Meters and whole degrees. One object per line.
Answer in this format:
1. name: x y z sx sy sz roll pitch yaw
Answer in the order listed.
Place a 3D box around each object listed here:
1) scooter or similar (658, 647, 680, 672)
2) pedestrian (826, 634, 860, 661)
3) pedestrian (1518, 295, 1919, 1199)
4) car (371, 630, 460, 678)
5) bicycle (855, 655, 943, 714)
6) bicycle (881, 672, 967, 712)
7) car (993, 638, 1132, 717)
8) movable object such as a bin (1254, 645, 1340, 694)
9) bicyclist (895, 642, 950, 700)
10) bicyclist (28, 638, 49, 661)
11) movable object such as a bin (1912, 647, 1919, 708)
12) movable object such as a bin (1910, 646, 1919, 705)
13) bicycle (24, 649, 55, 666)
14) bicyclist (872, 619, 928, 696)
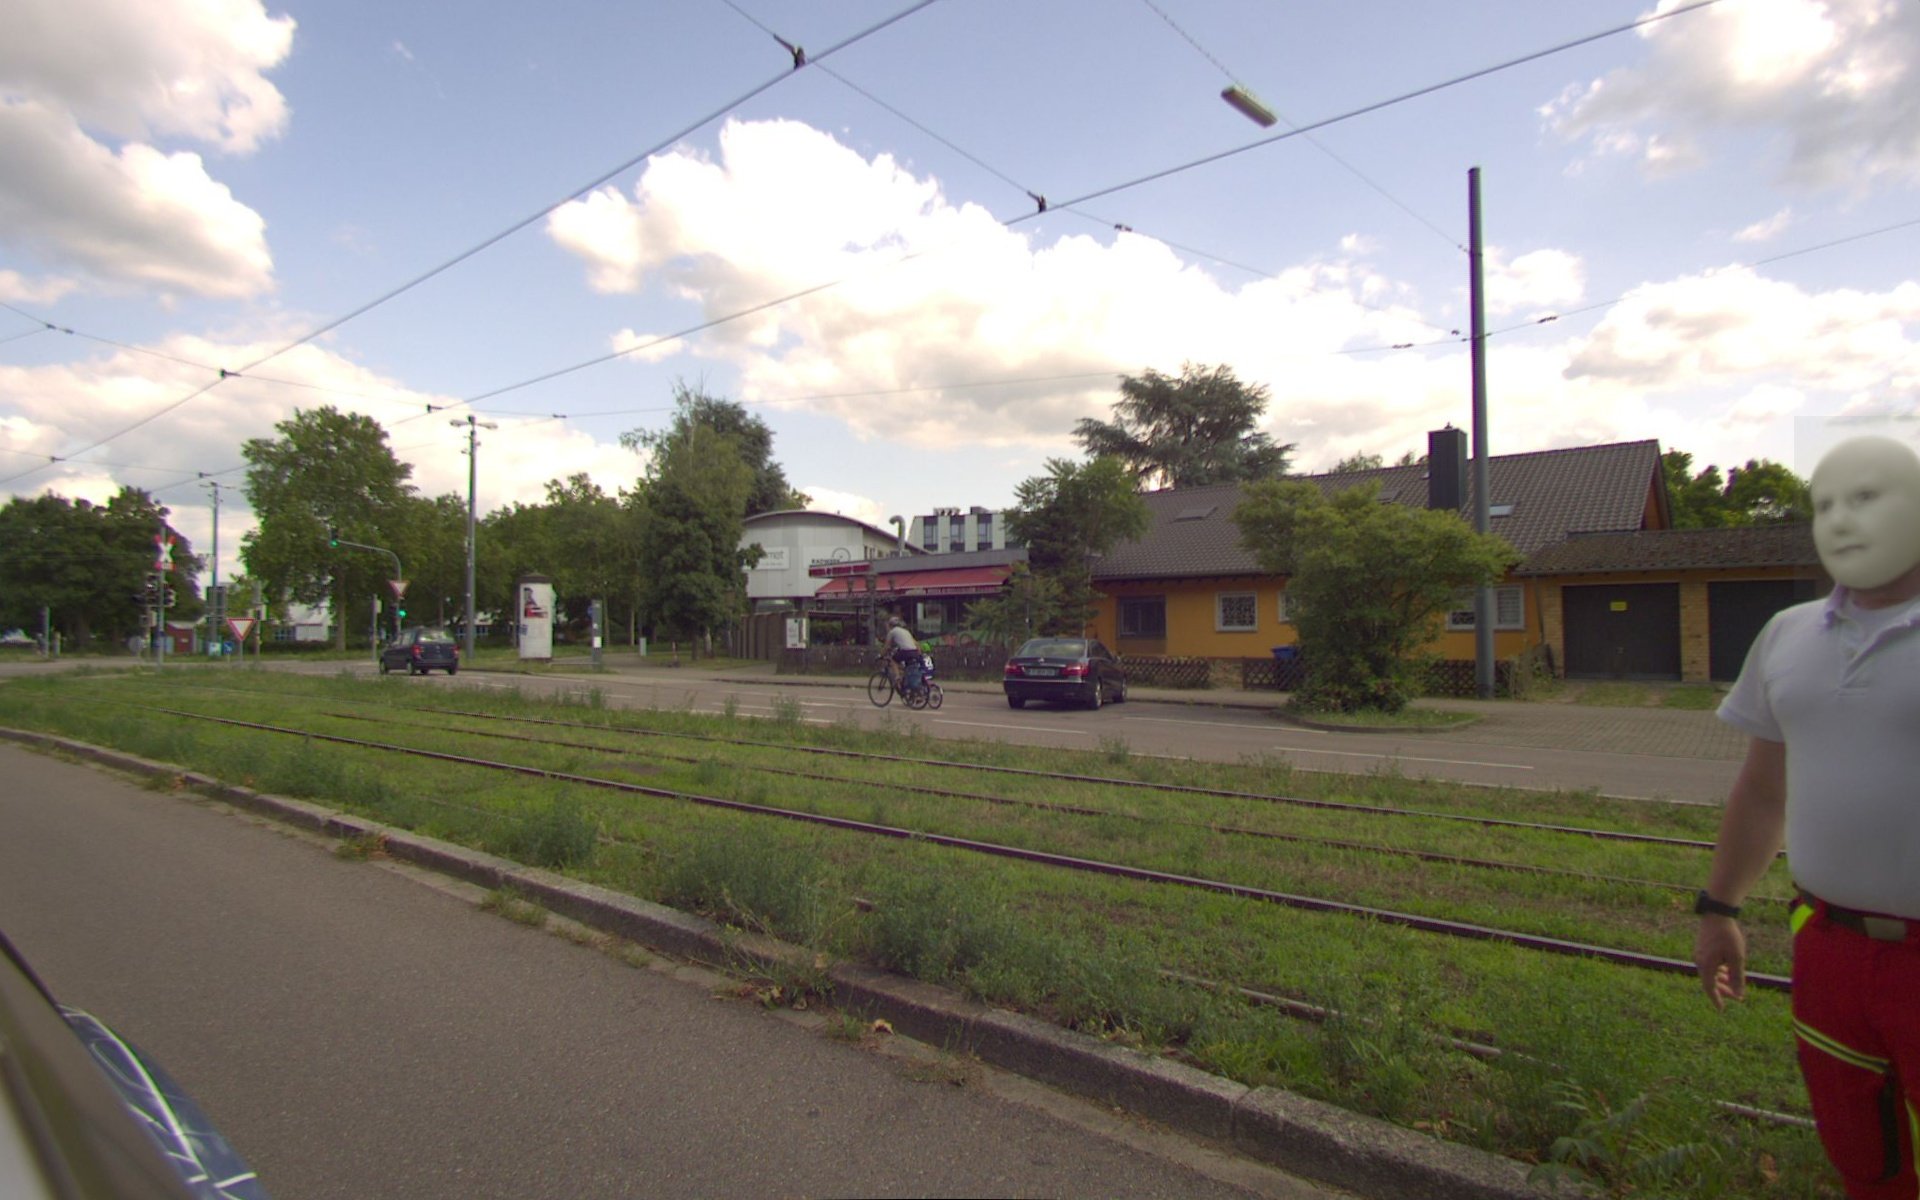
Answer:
1. scooter or similar: -12.206 2.480 42.420 0.421 1.041 1.225 1 -3 -40
2. pedestrian: -5.037 2.051 43.611 0.931 1.155 1.141 -2 -3 41
3. pedestrian: 1.462 0.497 1.426 0.836 1.699 0.808 0 -2 -24
4. car: -19.464 1.886 36.137 3.495 1.639 1.759 -2 -2 43
5. bicycle: -1.208 1.623 19.780 1.805 1.088 0.638 -2 -3 43
6. bicycle: -0.746 1.828 20.272 1.805 0.723 0.638 -2 -3 43
7. car: 2.289 1.531 21.269 1.869 1.418 4.620 0 -2 20
8. movable object such as a bin: 8.116 1.648 24.374 1.616 1.109 1.242 -2 -3 39
9. bicyclist: -0.757 1.416 20.305 0.928 1.121 0.632 -2 -3 43
10. bicyclist: -61.026 3.254 67.035 0.827 1.481 0.798 -3 -3 25
11. movable object such as a bin: 17.278 1.367 17.953 0.481 1.050 0.499 -3 -2 40
12. movable object such as a bin: 17.632 1.363 18.379 0.479 1.050 0.488 -3 -2 40
13. bicycle: -60.872 3.800 66.942 2.058 1.068 0.798 -3 -3 26
14. bicyclist: -1.176 1.115 19.760 0.928 1.469 0.616 -2 -3 42
